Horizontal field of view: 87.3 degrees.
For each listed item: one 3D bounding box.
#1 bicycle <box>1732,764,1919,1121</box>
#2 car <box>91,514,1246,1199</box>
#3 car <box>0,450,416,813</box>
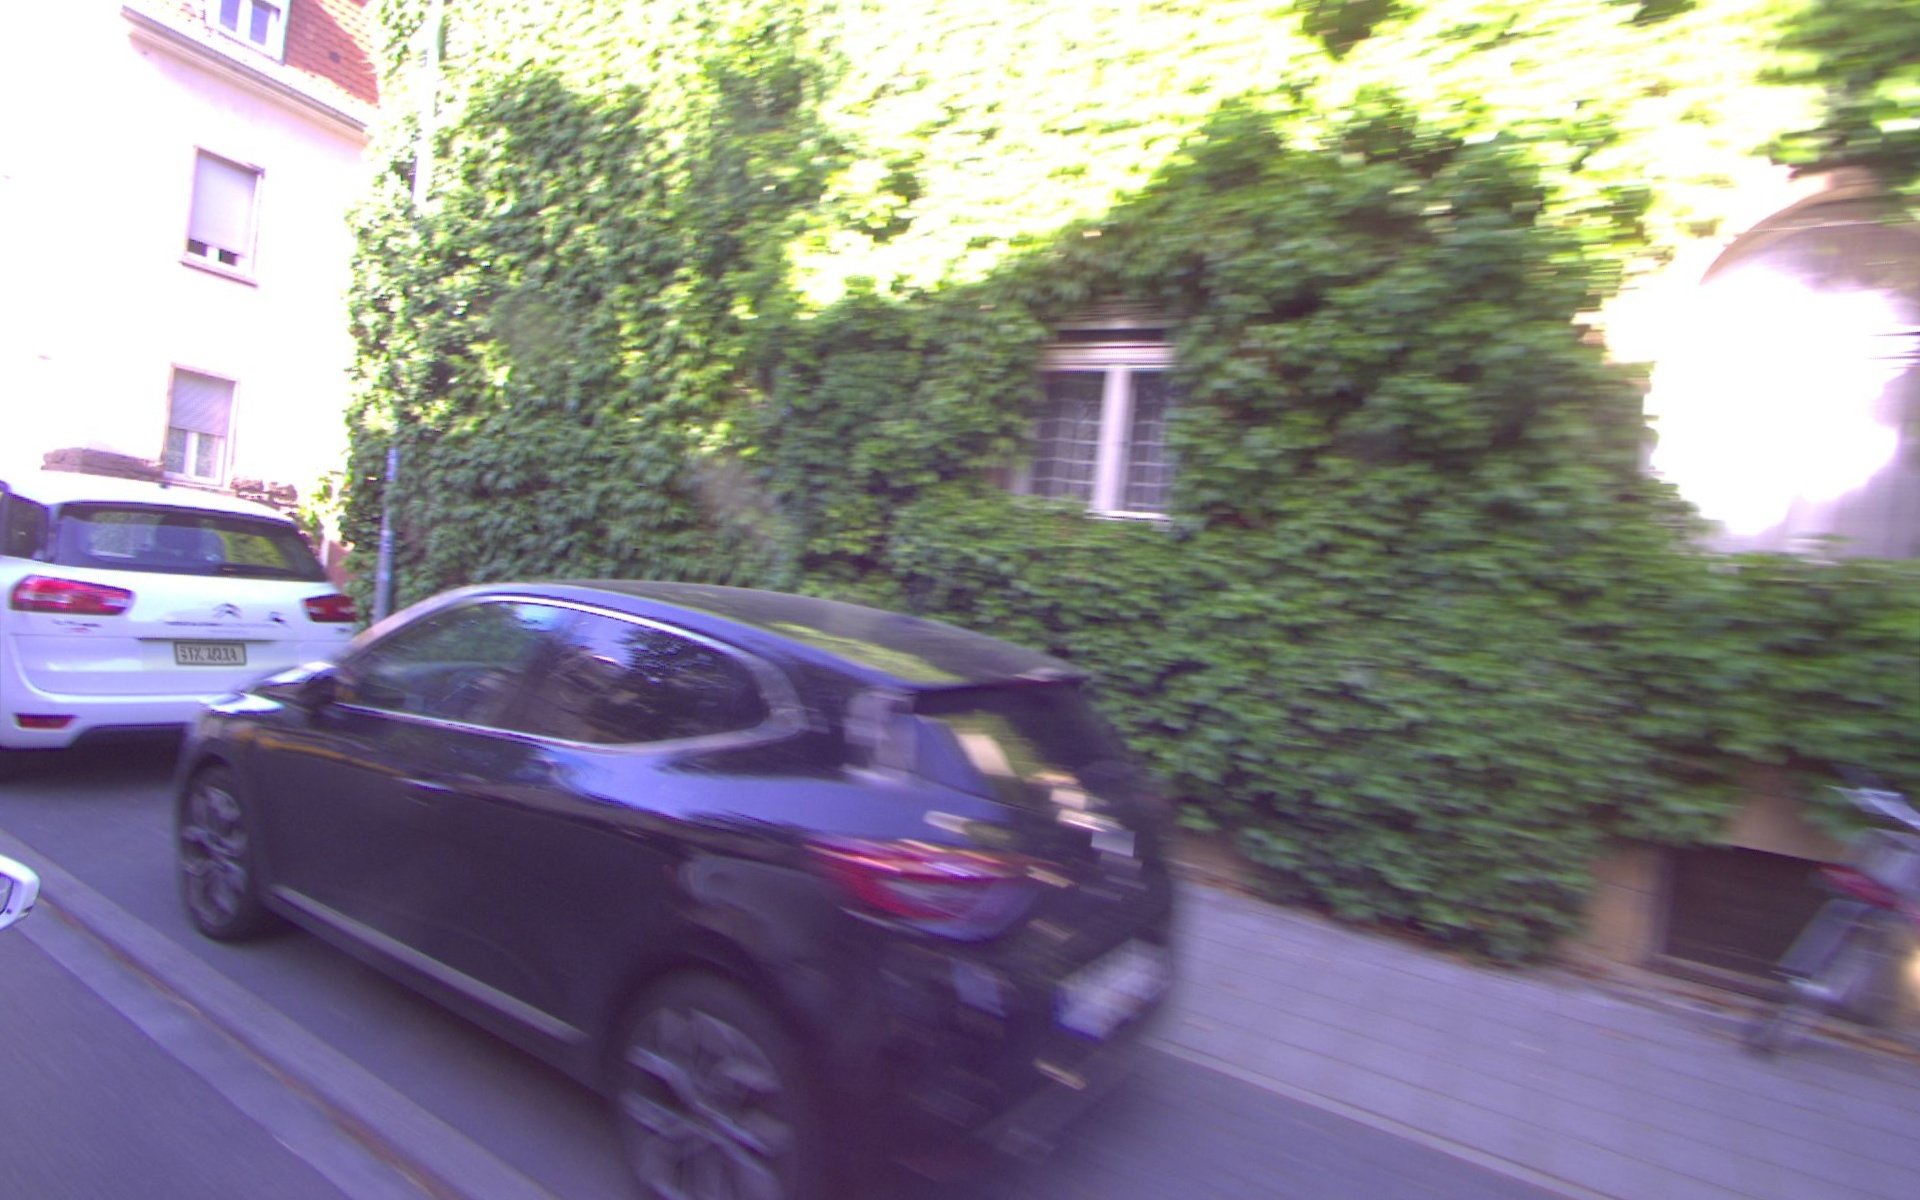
[{"bbox_3d":[3.821,1.306,3.513,1.631,1.125,0.461,7,3,32],"label":"bicycle"},{"bbox_3d":[-1.244,0.628,3.583,3.942,1.440,1.638,7,1,32],"label":"car"},{"bbox_3d":[-5.616,-0.002,6.470,4.130,1.666,1.868,7,1,33],"label":"car"}]
